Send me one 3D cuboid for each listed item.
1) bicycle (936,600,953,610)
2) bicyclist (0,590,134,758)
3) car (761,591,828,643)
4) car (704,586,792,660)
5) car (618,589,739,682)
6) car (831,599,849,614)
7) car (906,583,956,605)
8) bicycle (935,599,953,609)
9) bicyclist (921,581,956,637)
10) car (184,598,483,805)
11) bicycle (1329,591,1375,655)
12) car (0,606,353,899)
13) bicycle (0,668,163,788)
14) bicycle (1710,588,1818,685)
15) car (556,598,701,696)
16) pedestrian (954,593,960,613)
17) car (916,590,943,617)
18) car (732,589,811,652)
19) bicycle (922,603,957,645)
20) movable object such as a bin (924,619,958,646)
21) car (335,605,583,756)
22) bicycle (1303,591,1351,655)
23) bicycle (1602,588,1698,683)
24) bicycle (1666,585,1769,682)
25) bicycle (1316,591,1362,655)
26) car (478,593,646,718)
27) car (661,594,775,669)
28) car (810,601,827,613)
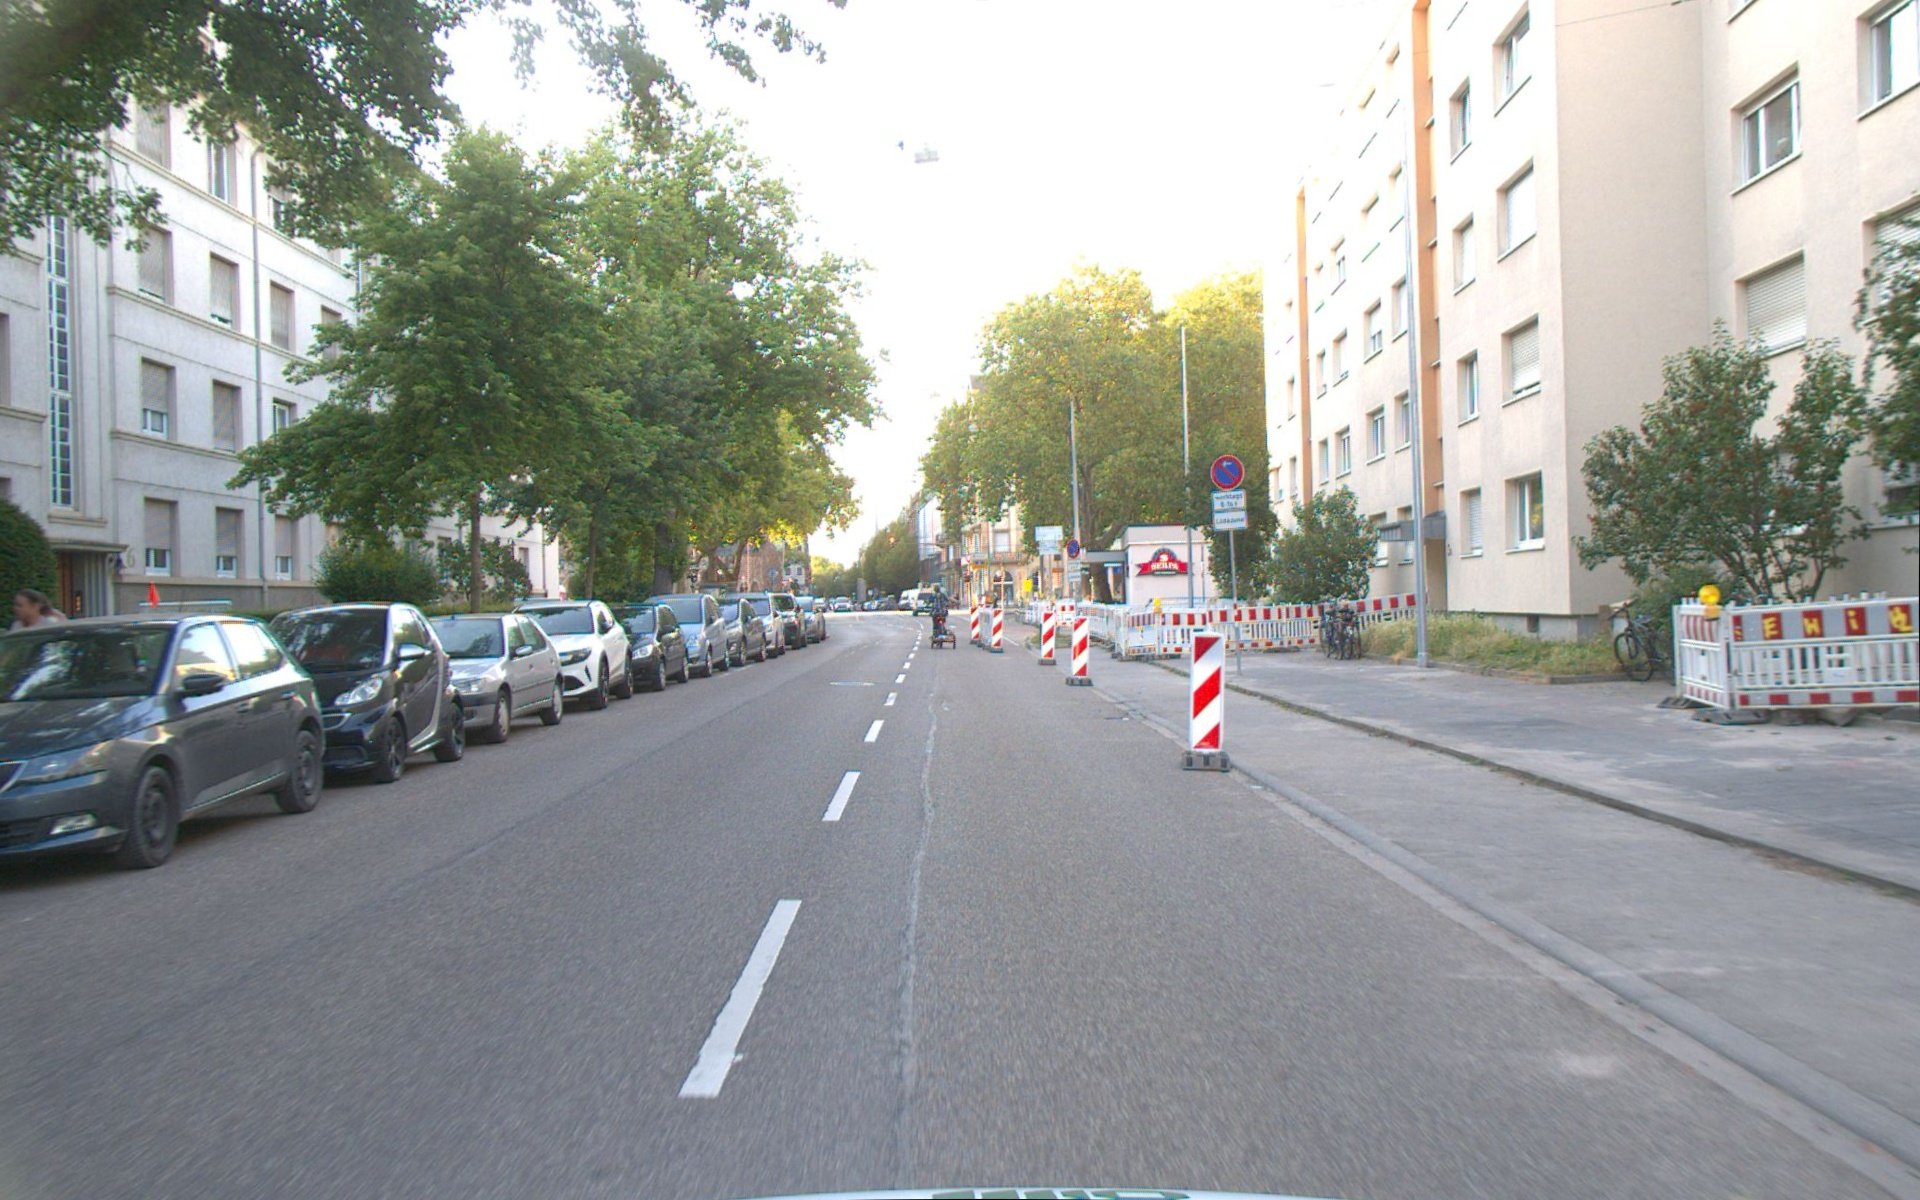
[{"bbox_3d":[-1.690,0.530,178.784,1.876,0.985,0.545,-1,0,-3],"label":"bicycle"},{"bbox_3d":[-7.982,0.634,14.700,0.792,1.428,0.973,-1,0,-1],"label":"bicyclist"},{"bbox_3d":[-5.819,0.576,58.654,1.914,1.645,4.604,-3,0,-1],"label":"car"},{"bbox_3d":[-5.529,0.578,43.565,1.810,1.720,4.856,-3,0,-3],"label":"car"},{"bbox_3d":[-5.599,0.666,33.297,1.673,1.628,4.116,-4,0,-1],"label":"car"},{"bbox_3d":[-13.789,0.714,189.281,1.748,1.680,3.813,0,0,-9],"label":"car"},{"bbox_3d":[-3.222,-0.635,184.997,5.779,2.328,2.039,-1,0,-44],"label":"car"},{"bbox_3d":[-1.716,0.412,178.564,1.876,0.985,0.545,-1,0,-3],"label":"bicycle"},{"bbox_3d":[-0.664,0.273,50.089,0.920,1.609,1.146,-4,0,-3],"label":"bicyclist"},{"bbox_3d":[-5.508,0.819,14.930,1.493,1.555,3.163,-4,0,-2],"label":"car"},{"bbox_3d":[7.933,0.450,33.540,0.390,1.243,1.825,-1,0,-3],"label":"bicycle"},{"bbox_3d":[-5.423,0.845,10.658,1.559,1.491,4.100,-4,0,-3],"label":"car"},{"bbox_3d":[-7.934,1.112,14.775,0.791,0.927,1.761,-1,0,-1],"label":"bicycle"},{"bbox_3d":[10.385,0.452,21.412,0.544,1.192,1.817,-1,0,2],"label":"bicycle"},{"bbox_3d":[-5.708,0.767,28.878,1.673,1.477,3.842,-4,0,0],"label":"car"},{"bbox_3d":[-0.294,0.295,165.553,0.581,1.919,0.585,-1,0,2],"label":"pedestrian"},{"bbox_3d":[-2.295,0.250,122.817,1.829,1.846,3.998,-2,0,-2],"label":"car"},{"bbox_3d":[-5.728,0.598,50.816,1.914,1.748,4.769,-3,0,-1],"label":"car"},{"bbox_3d":[-0.633,0.716,50.066,0.920,1.192,2.357,-4,0,-3],"label":"bicycle"},{"bbox_3d":[-0.553,0.941,48.394,0.920,0.701,0.993,-4,0,-3],"label":"movable object such as a bin"},{"bbox_3d":[-5.661,0.840,19.222,1.558,1.428,4.180,-4,0,-1],"label":"car"},{"bbox_3d":[7.419,0.451,33.508,0.442,1.243,1.910,-1,0,-3],"label":"bicycle"},{"bbox_3d":[9.079,0.453,21.837,0.544,1.192,1.817,-1,0,2],"label":"bicycle"},{"bbox_3d":[9.796,0.410,21.452,0.544,1.192,1.817,-1,0,2],"label":"bicycle"},{"bbox_3d":[7.687,0.451,33.604,0.390,1.243,1.910,-1,0,-3],"label":"bicycle"},{"bbox_3d":[-5.781,0.759,24.482,1.559,1.565,4.204,-4,0,-3],"label":"car"},{"bbox_3d":[-5.503,0.680,38.104,1.696,1.523,4.272,-3,0,3],"label":"car"},{"bbox_3d":[-18.770,0.935,218.798,1.956,1.680,3.813,0,0,-9],"label":"car"}]
